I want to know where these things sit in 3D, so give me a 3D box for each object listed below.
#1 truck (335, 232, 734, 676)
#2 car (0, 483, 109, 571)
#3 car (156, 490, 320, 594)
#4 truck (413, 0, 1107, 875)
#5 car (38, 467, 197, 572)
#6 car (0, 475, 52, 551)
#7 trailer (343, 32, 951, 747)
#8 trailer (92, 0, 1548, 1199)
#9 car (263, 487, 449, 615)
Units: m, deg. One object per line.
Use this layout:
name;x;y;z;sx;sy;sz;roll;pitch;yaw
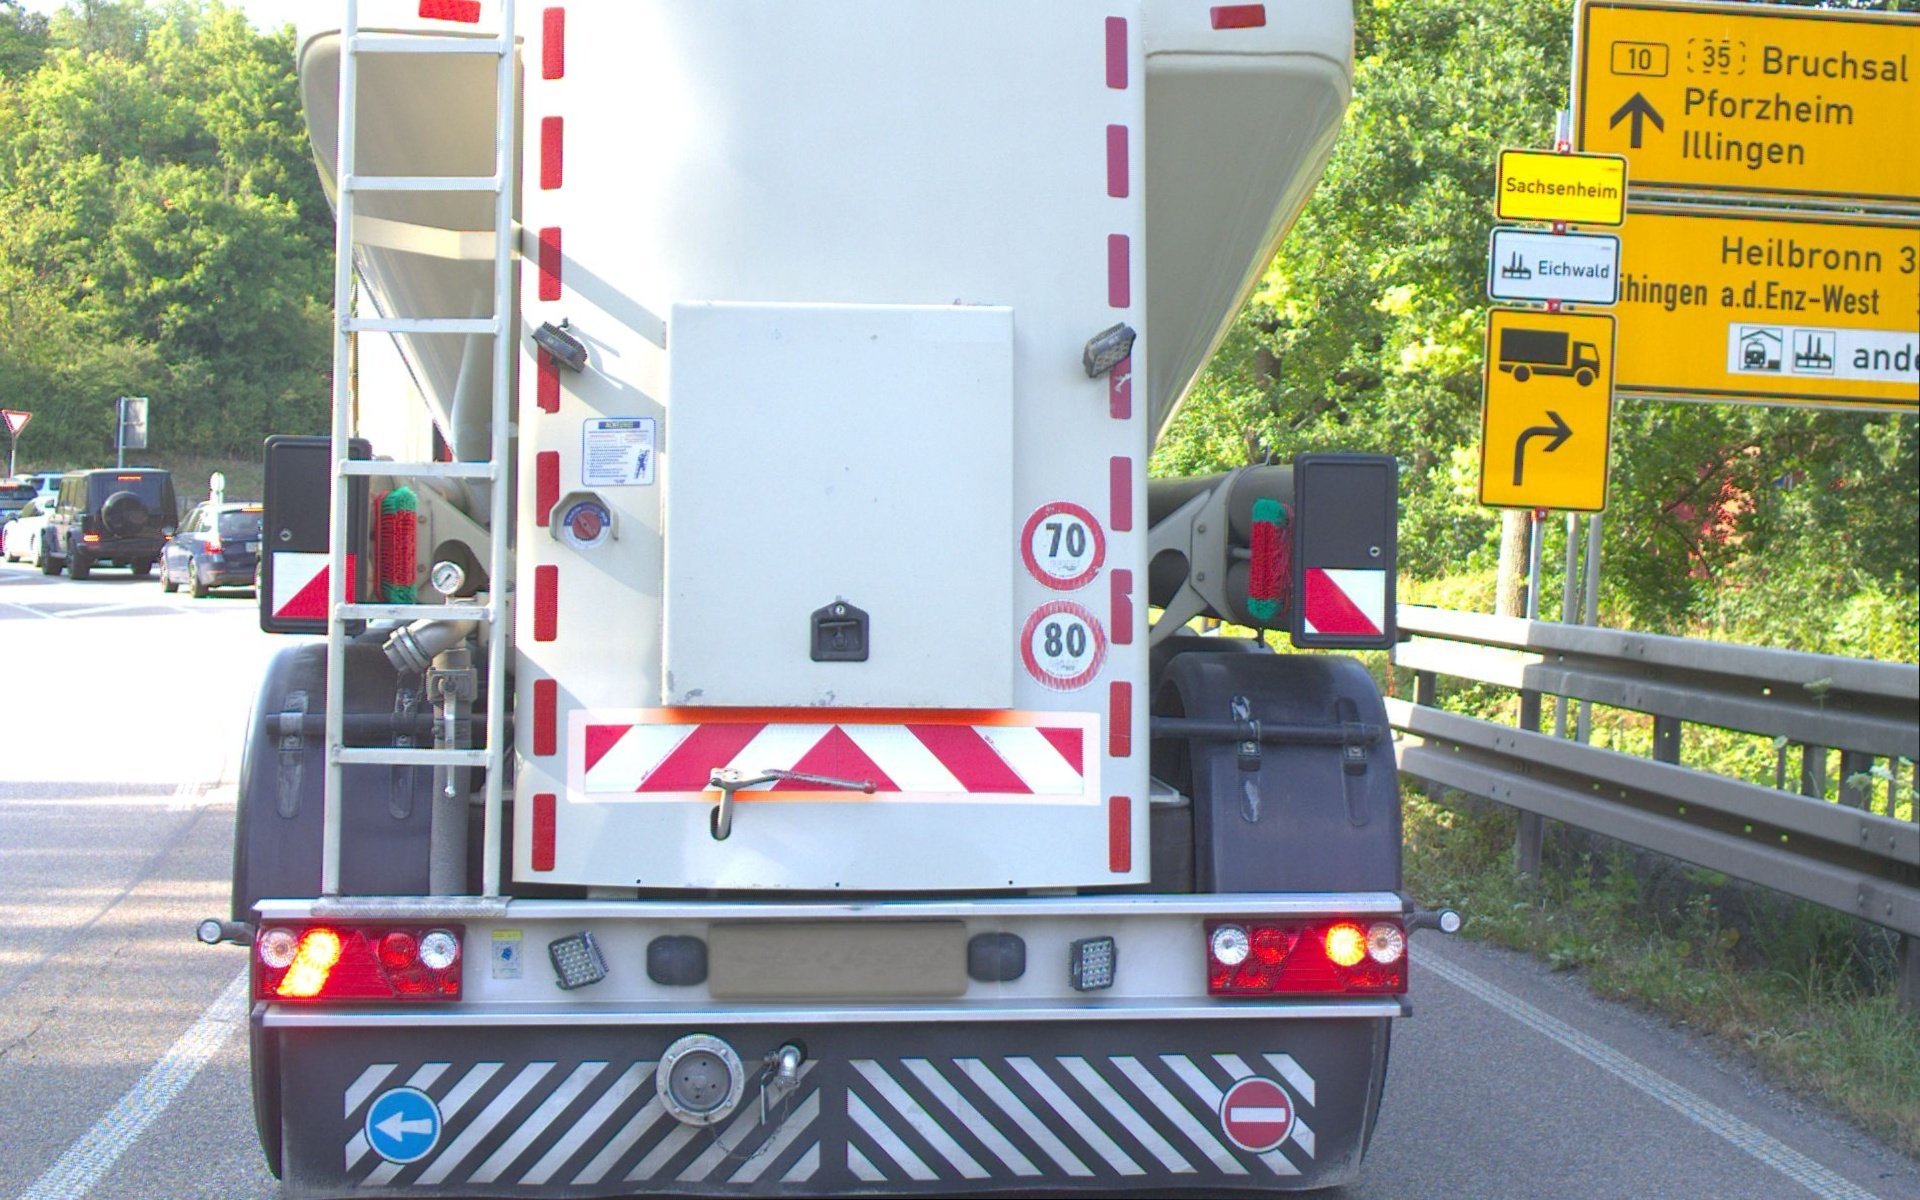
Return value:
truck;-4.568;-1.418;35.576;3.449;4.072;6.492;2;1;-12
car;-18.967;-1.531;70.817;1.867;1.677;4.001;2;1;-27
car;-11.326;-0.936;53.777;1.867;1.559;4.001;-1;2;-21
truck;-1.177;-0.931;17.156;2.823;4.021;5.896;1;1;-7
car;-15.340;-1.497;62.476;1.956;1.845;4.001;-1;3;-26
car;-21.335;-1.957;75.410;1.867;1.589;4.001;2;1;-27
trailer;-3.146;-1.456;28.660;3.544;4.497;12.988;2;1;-11
trailer;-0.636;-1.000;11.676;2.886;4.439;9.607;1;1;-5
car;-8.116;-0.698;45.933;1.867;1.622;4.002;-1;2;-18
